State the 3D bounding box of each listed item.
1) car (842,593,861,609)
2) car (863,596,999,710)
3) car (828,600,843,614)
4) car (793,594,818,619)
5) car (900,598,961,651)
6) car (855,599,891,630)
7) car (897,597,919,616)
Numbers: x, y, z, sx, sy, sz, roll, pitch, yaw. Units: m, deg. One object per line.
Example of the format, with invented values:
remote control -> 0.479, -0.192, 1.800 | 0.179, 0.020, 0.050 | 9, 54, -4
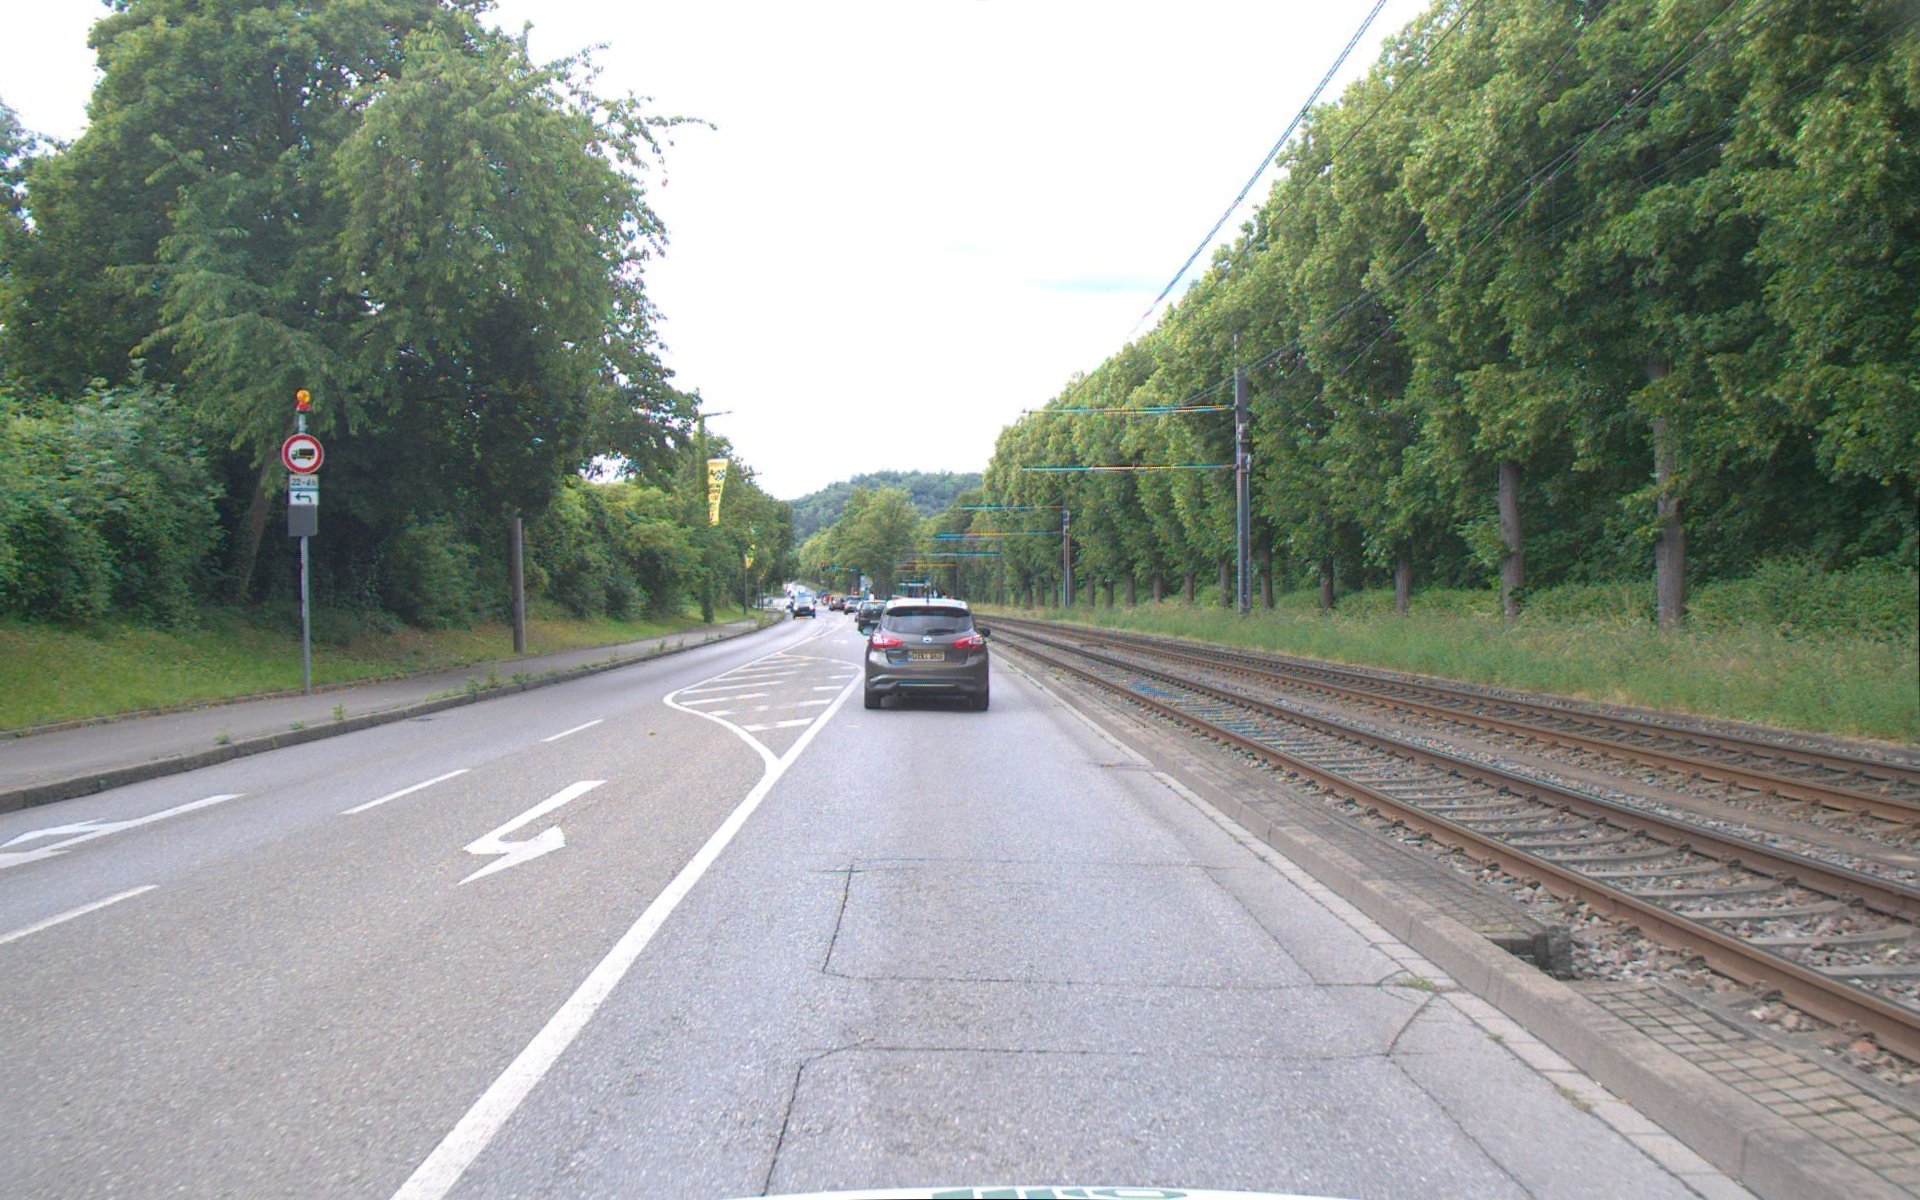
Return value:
car -> -11.032, 0.110, 167.716 | 1.758, 1.537, 3.999 | 0, 0, -2
car -> -0.415, 0.721, 24.189 | 1.813, 1.519, 3.999 | 0, 0, -1
car -> -16.054, 0.882, 213.768 | 1.665, 1.744, 3.999 | 0, 0, -2
car -> -13.381, 0.540, 143.676 | 1.954, 2.072, 5.112 | -2, 0, -4
car -> -0.888, 0.681, 48.179 | 1.666, 1.469, 3.998 | 0, 0, -3
car -> -4.231, 0.696, 80.032 | 1.666, 1.469, 3.997 | 0, 0, -4
car -> -4.110, 0.501, 131.500 | 1.665, 1.469, 3.999 | 0, 0, -2
